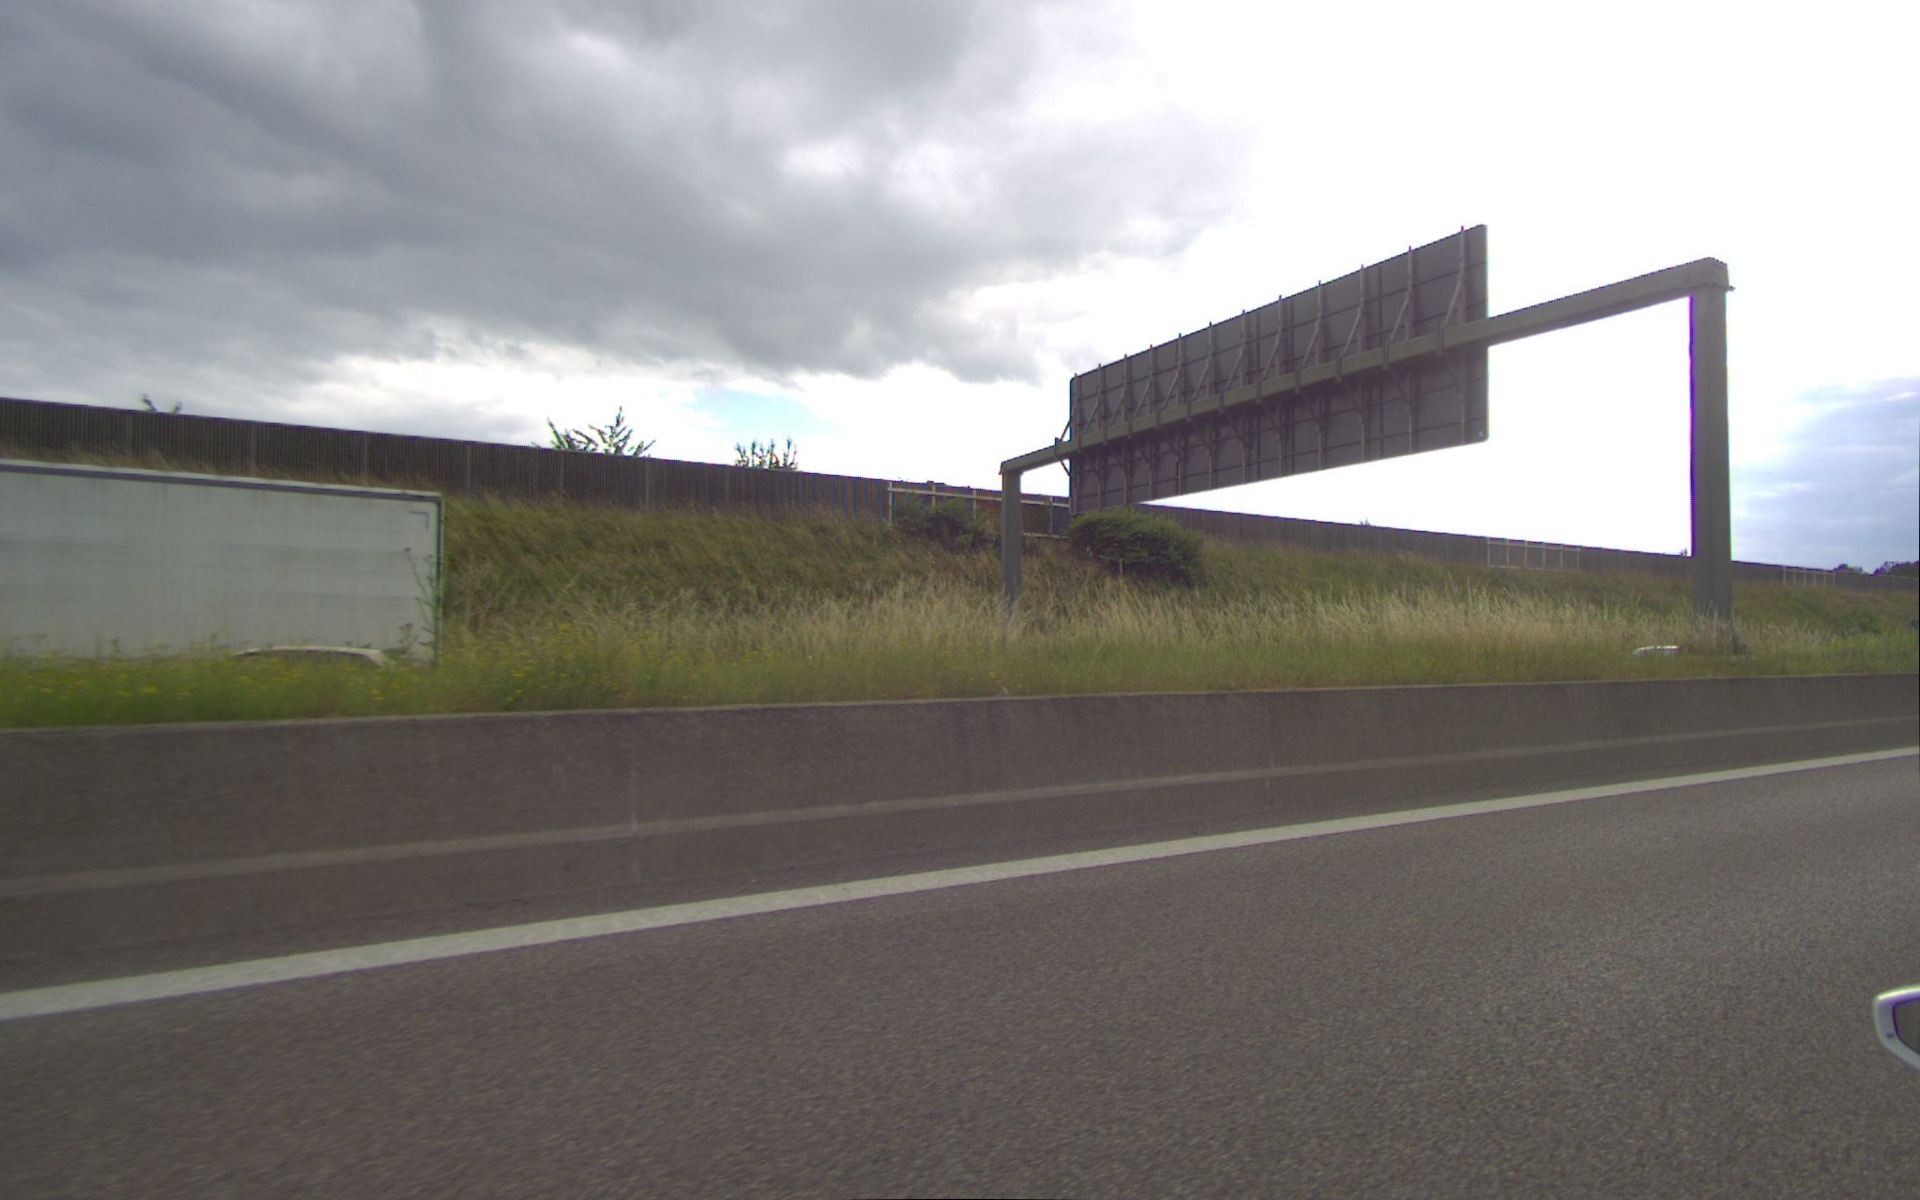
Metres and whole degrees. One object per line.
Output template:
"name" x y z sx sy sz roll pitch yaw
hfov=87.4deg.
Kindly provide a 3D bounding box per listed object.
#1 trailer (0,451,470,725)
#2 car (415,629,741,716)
"trailer" -14.018 -0.138 14.710 12.119 3.726 2.764 1 -2 -30
"car" -5.623 1.009 14.900 4.282 1.046 1.855 1 0 -31
